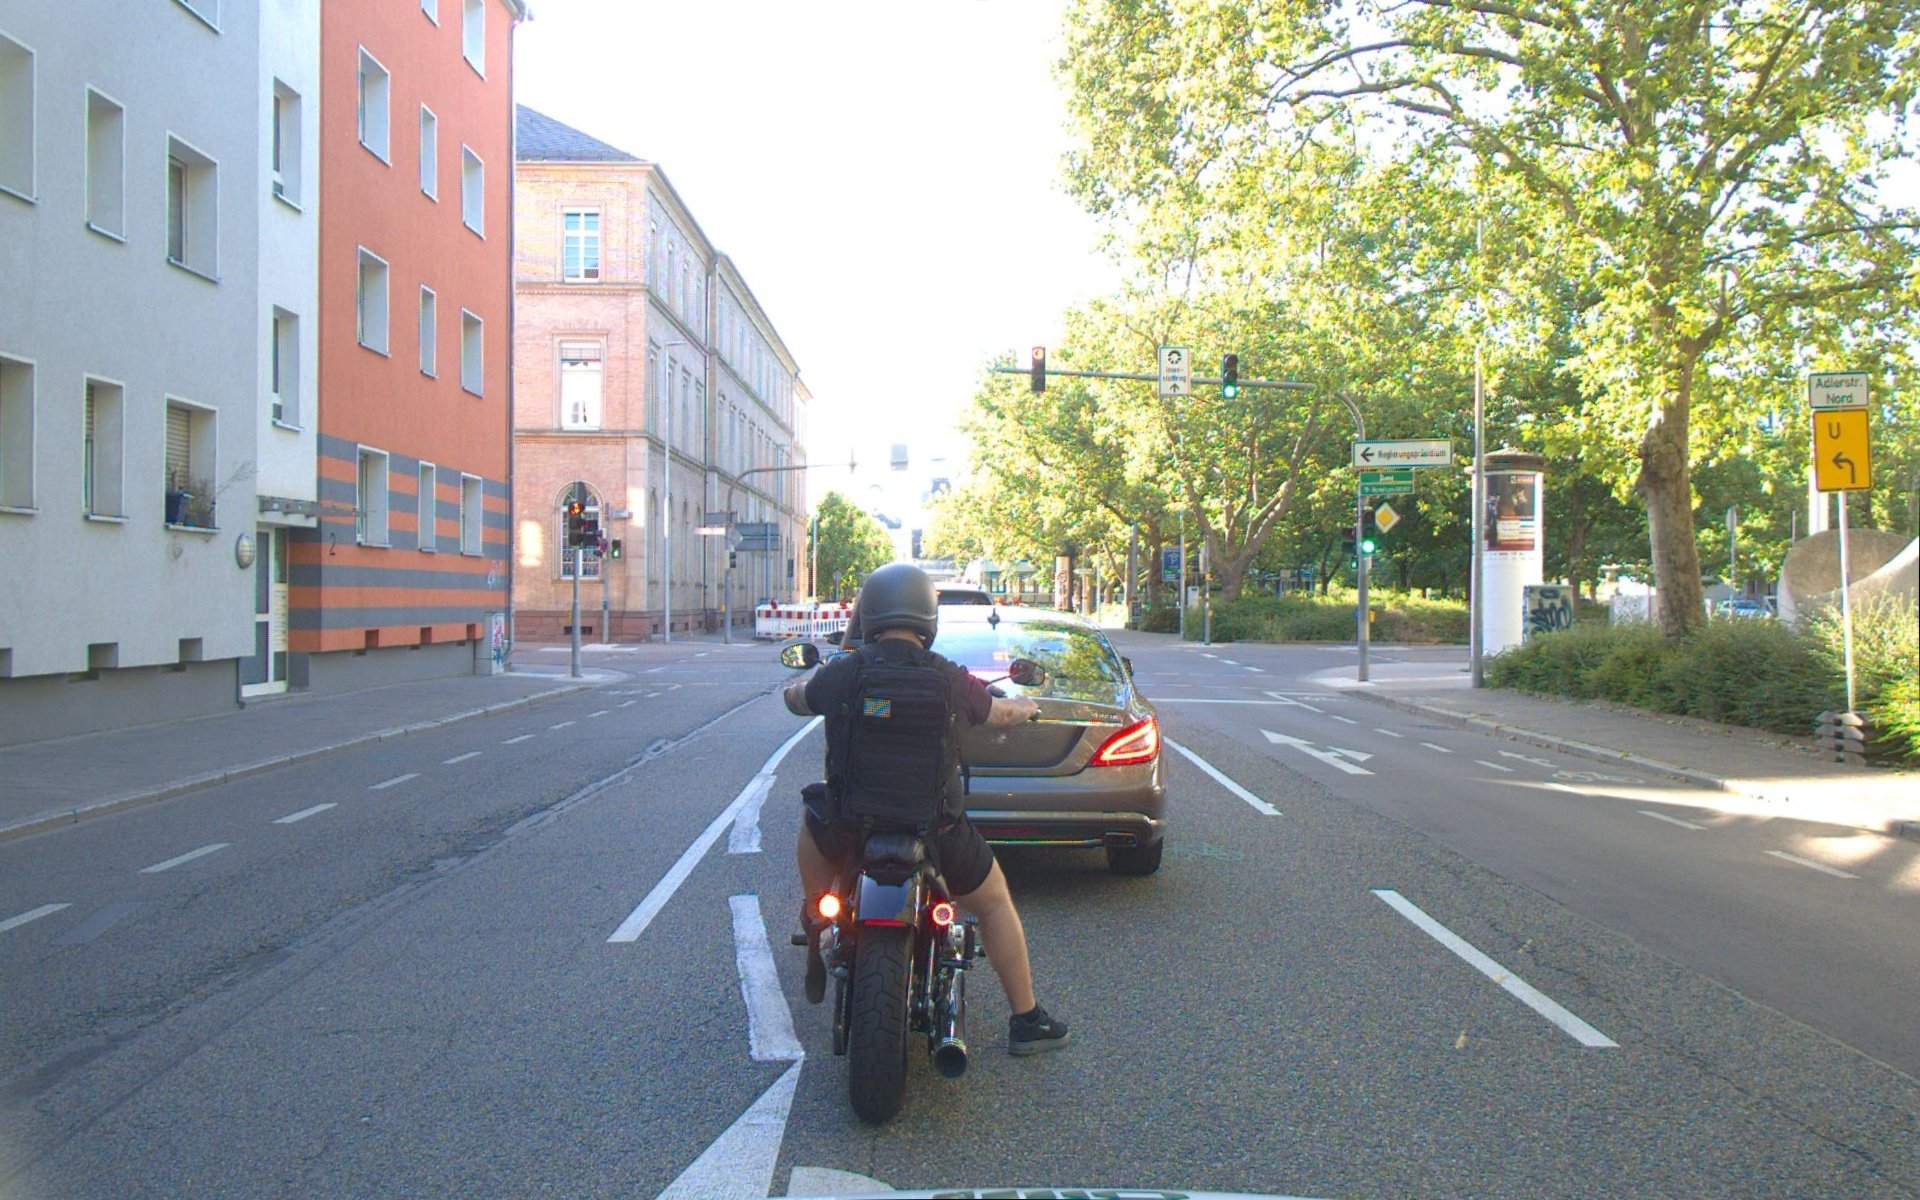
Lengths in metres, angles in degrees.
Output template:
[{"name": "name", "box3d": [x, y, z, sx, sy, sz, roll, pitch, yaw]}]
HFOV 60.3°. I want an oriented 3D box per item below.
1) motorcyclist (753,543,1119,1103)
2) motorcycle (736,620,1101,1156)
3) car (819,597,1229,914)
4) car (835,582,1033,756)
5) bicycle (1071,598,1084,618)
[{"name": "motorcyclist", "box3d": [-0.074, 0.650, 5.256, 1.039, 1.610, 0.908, 1, 0, -1]}, {"name": "motorcycle", "box3d": [-0.124, 0.775, 5.525, 0.942, 1.380, 2.319, 1, 0, -1]}, {"name": "car", "box3d": [0.138, 0.723, 9.966, 1.865, 1.466, 4.283, 0, 0, -6]}, {"name": "car", "box3d": [-0.339, 0.609, 16.755, 1.777, 1.563, 3.846, 0, 0, -3]}, {"name": "bicycle", "box3d": [6.957, 0.470, 97.979, 0.701, 1.193, 2.177, 1, 0, 3]}]
